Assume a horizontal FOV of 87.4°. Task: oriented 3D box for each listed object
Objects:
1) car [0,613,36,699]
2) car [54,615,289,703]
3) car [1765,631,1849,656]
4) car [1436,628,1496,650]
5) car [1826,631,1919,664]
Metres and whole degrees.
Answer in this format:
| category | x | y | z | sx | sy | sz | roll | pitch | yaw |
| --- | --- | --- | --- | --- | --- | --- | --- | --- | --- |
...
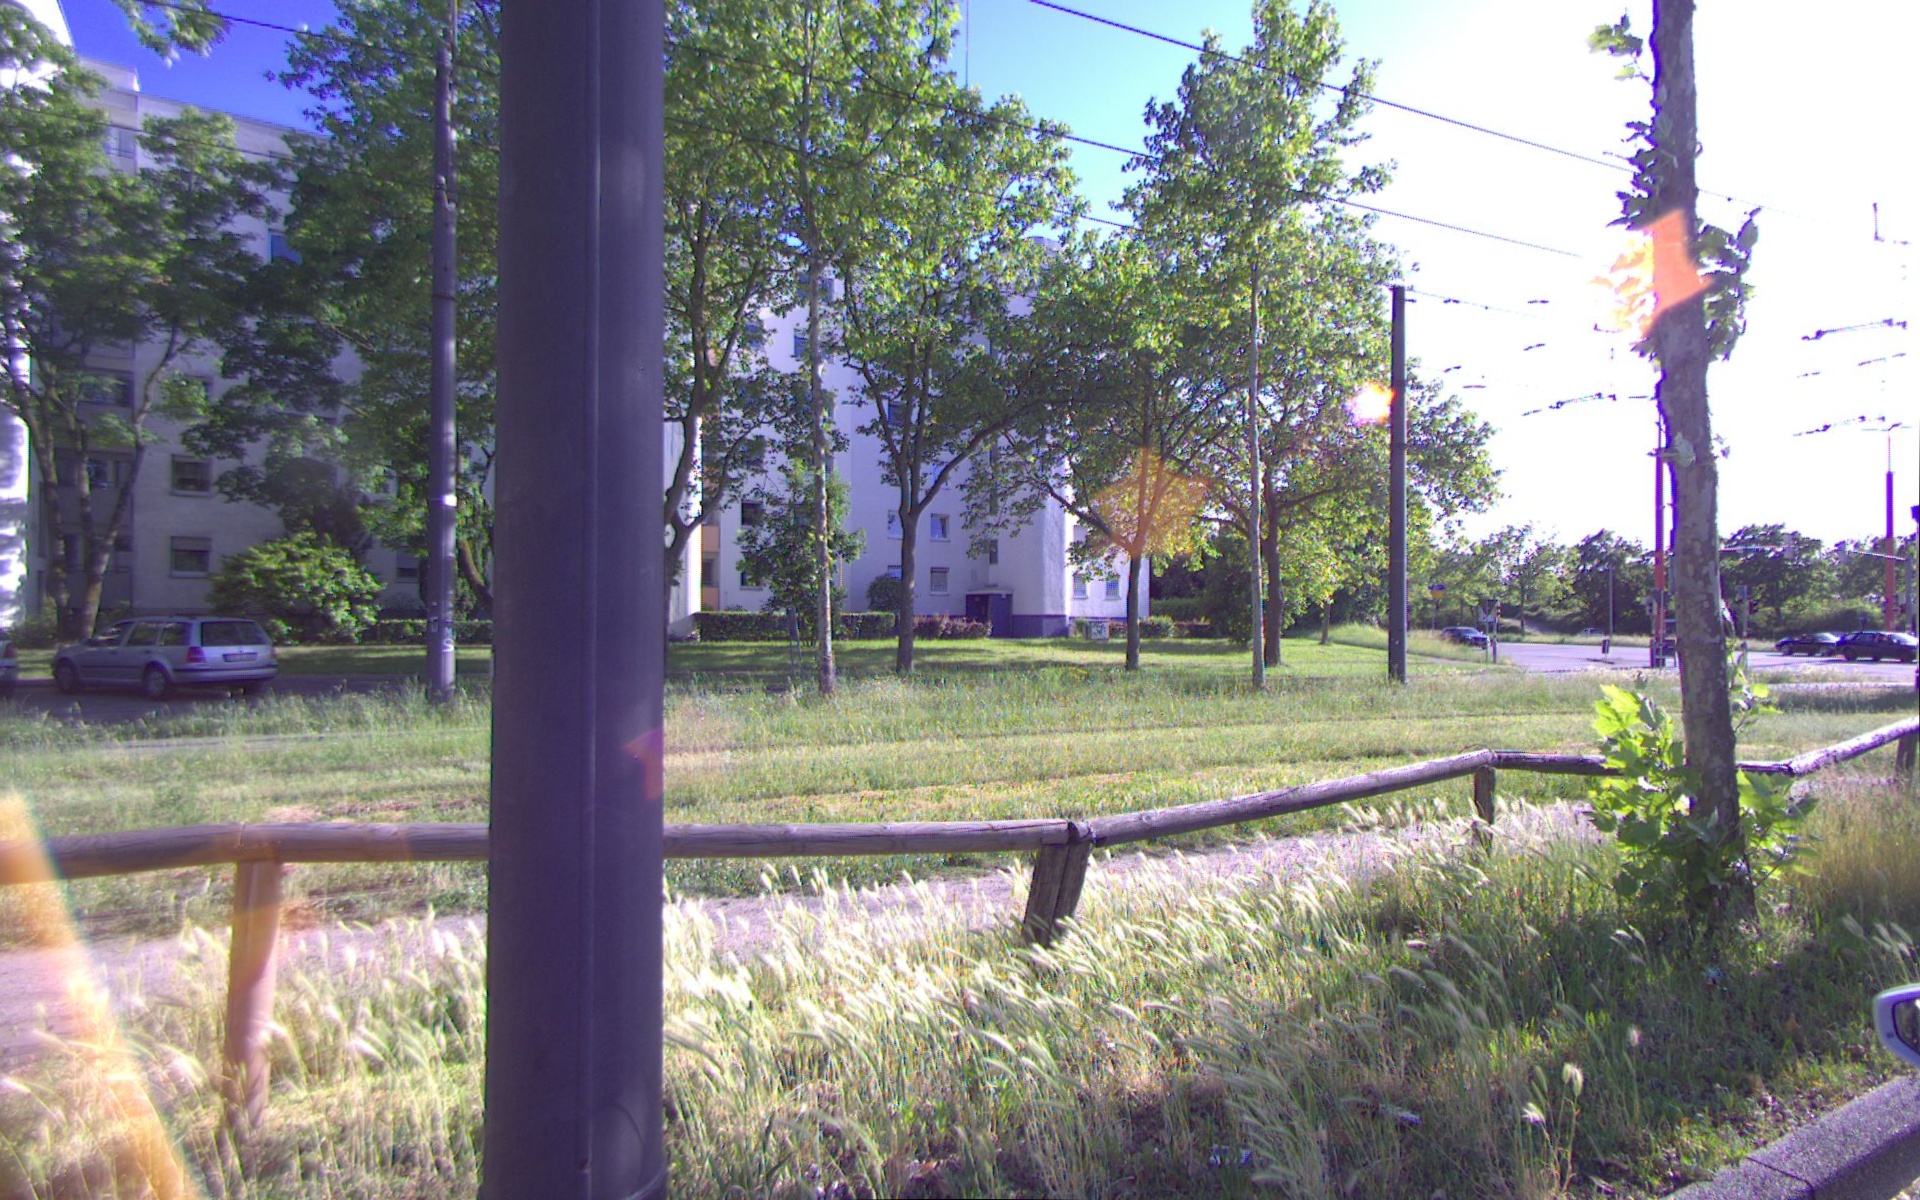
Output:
| category | x | y | z | sx | sy | sz | roll | pitch | yaw |
| --- | --- | --- | --- | --- | --- | --- | --- | --- | --- |
| car | -17.927 | 0.923 | 17.135 | 3.609 | 1.452 | 1.703 | 0 | -1 | 20 |
| car | -14.483 | 1.022 | 18.479 | 3.609 | 1.452 | 1.732 | 0 | -1 | 20 |
| car | 48.425 | 2.486 | 57.512 | 1.707 | 1.327 | 3.817 | 1 | -1 | 3 |
| car | 38.755 | 2.985 | 77.031 | 1.962 | 1.564 | 4.645 | 1 | -1 | -5 |
| car | 45.980 | 2.343 | 49.836 | 1.884 | 1.483 | 4.225 | 1 | -1 | -17 |
